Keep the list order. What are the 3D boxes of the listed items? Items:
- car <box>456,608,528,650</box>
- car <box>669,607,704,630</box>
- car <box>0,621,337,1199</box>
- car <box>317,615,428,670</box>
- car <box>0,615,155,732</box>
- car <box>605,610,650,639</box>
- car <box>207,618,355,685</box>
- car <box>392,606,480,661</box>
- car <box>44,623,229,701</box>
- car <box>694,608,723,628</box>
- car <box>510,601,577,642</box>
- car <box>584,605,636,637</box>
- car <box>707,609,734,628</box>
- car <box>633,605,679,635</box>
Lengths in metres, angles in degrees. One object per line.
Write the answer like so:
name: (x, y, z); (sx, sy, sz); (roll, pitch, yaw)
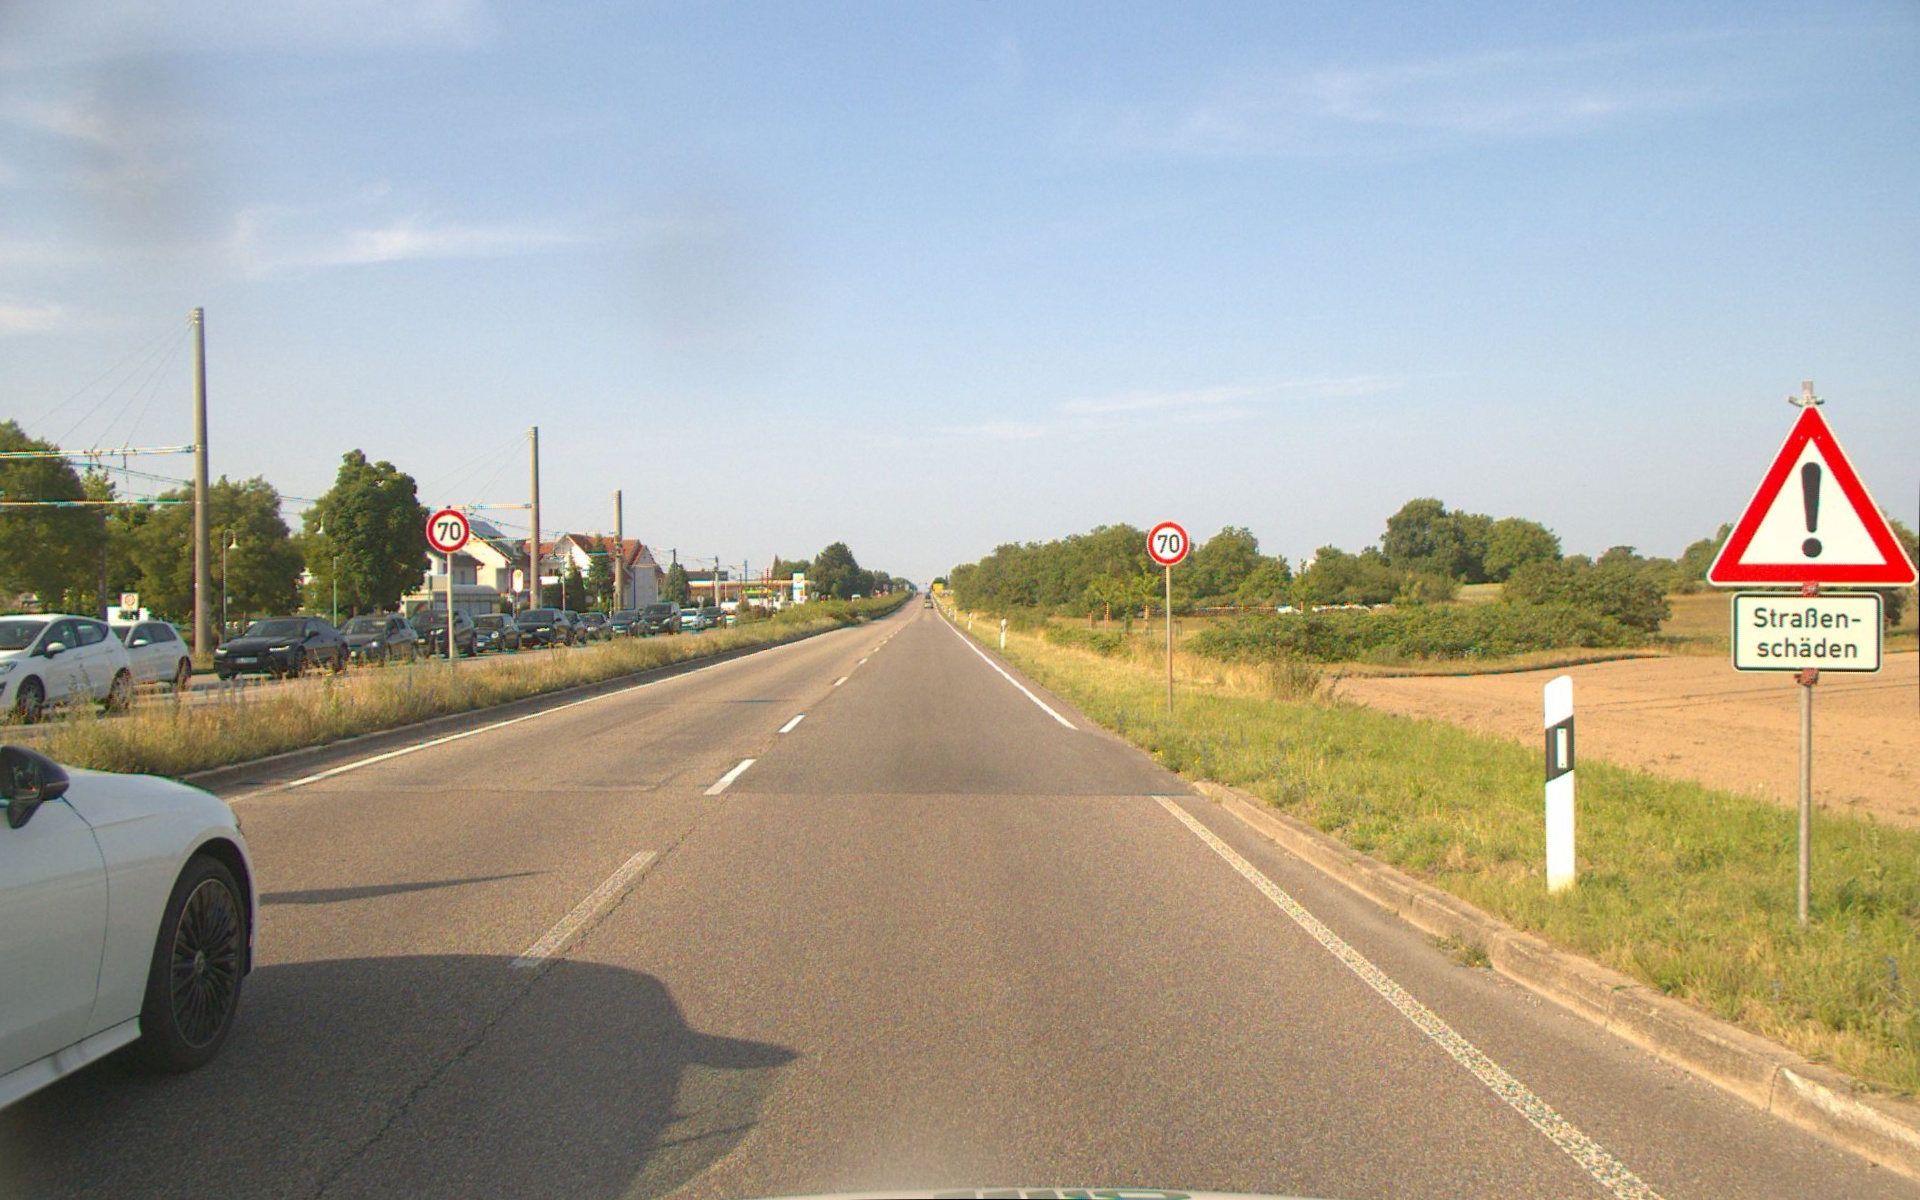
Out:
car: (-17.403, 1.050, 61.623); (1.627, 1.456, 3.804); (-2, 0, -1)
car: (-18.328, 1.211, 110.914); (1.627, 1.456, 4.447); (-2, 0, -1)
car: (-3.126, 0.754, 3.565); (1.735, 1.361, 4.949); (1, 0, -1)
car: (-16.910, 1.194, 47.797); (1.627, 1.405, 4.540); (-2, 0, -1)
car: (-13.422, 1.011, 23.573); (1.782, 1.495, 4.293); (-2, 0, -1)
car: (-17.894, 1.295, 89.227); (1.627, 1.456, 4.055); (-2, 0, -1)
car: (-16.519, 1.209, 40.503); (1.627, 1.440, 4.974); (-2, 0, -1)
car: (-17.449, 1.086, 55.232); (1.627, 1.717, 4.227); (-2, 0, -1)
car: (-16.939, 1.229, 34.272); (1.627, 1.405, 4.467); (-2, 0, -1)
car: (-18.900, 1.337, 124.391); (1.627, 1.456, 4.325); (-2, 0, -1)
car: (-17.073, 0.859, 68.009); (1.627, 1.590, 4.544); (-2, 0, -1)
car: (-17.241, 1.034, 81.614); (1.627, 1.456, 4.716); (-2, 0, -1)
car: (-19.745, 1.476, 136.255); (1.627, 1.456, 4.325); (-2, 0, -1)
car: (-18.318, 1.192, 99.774); (1.876, 1.712, 5.252); (-2, 0, -1)
